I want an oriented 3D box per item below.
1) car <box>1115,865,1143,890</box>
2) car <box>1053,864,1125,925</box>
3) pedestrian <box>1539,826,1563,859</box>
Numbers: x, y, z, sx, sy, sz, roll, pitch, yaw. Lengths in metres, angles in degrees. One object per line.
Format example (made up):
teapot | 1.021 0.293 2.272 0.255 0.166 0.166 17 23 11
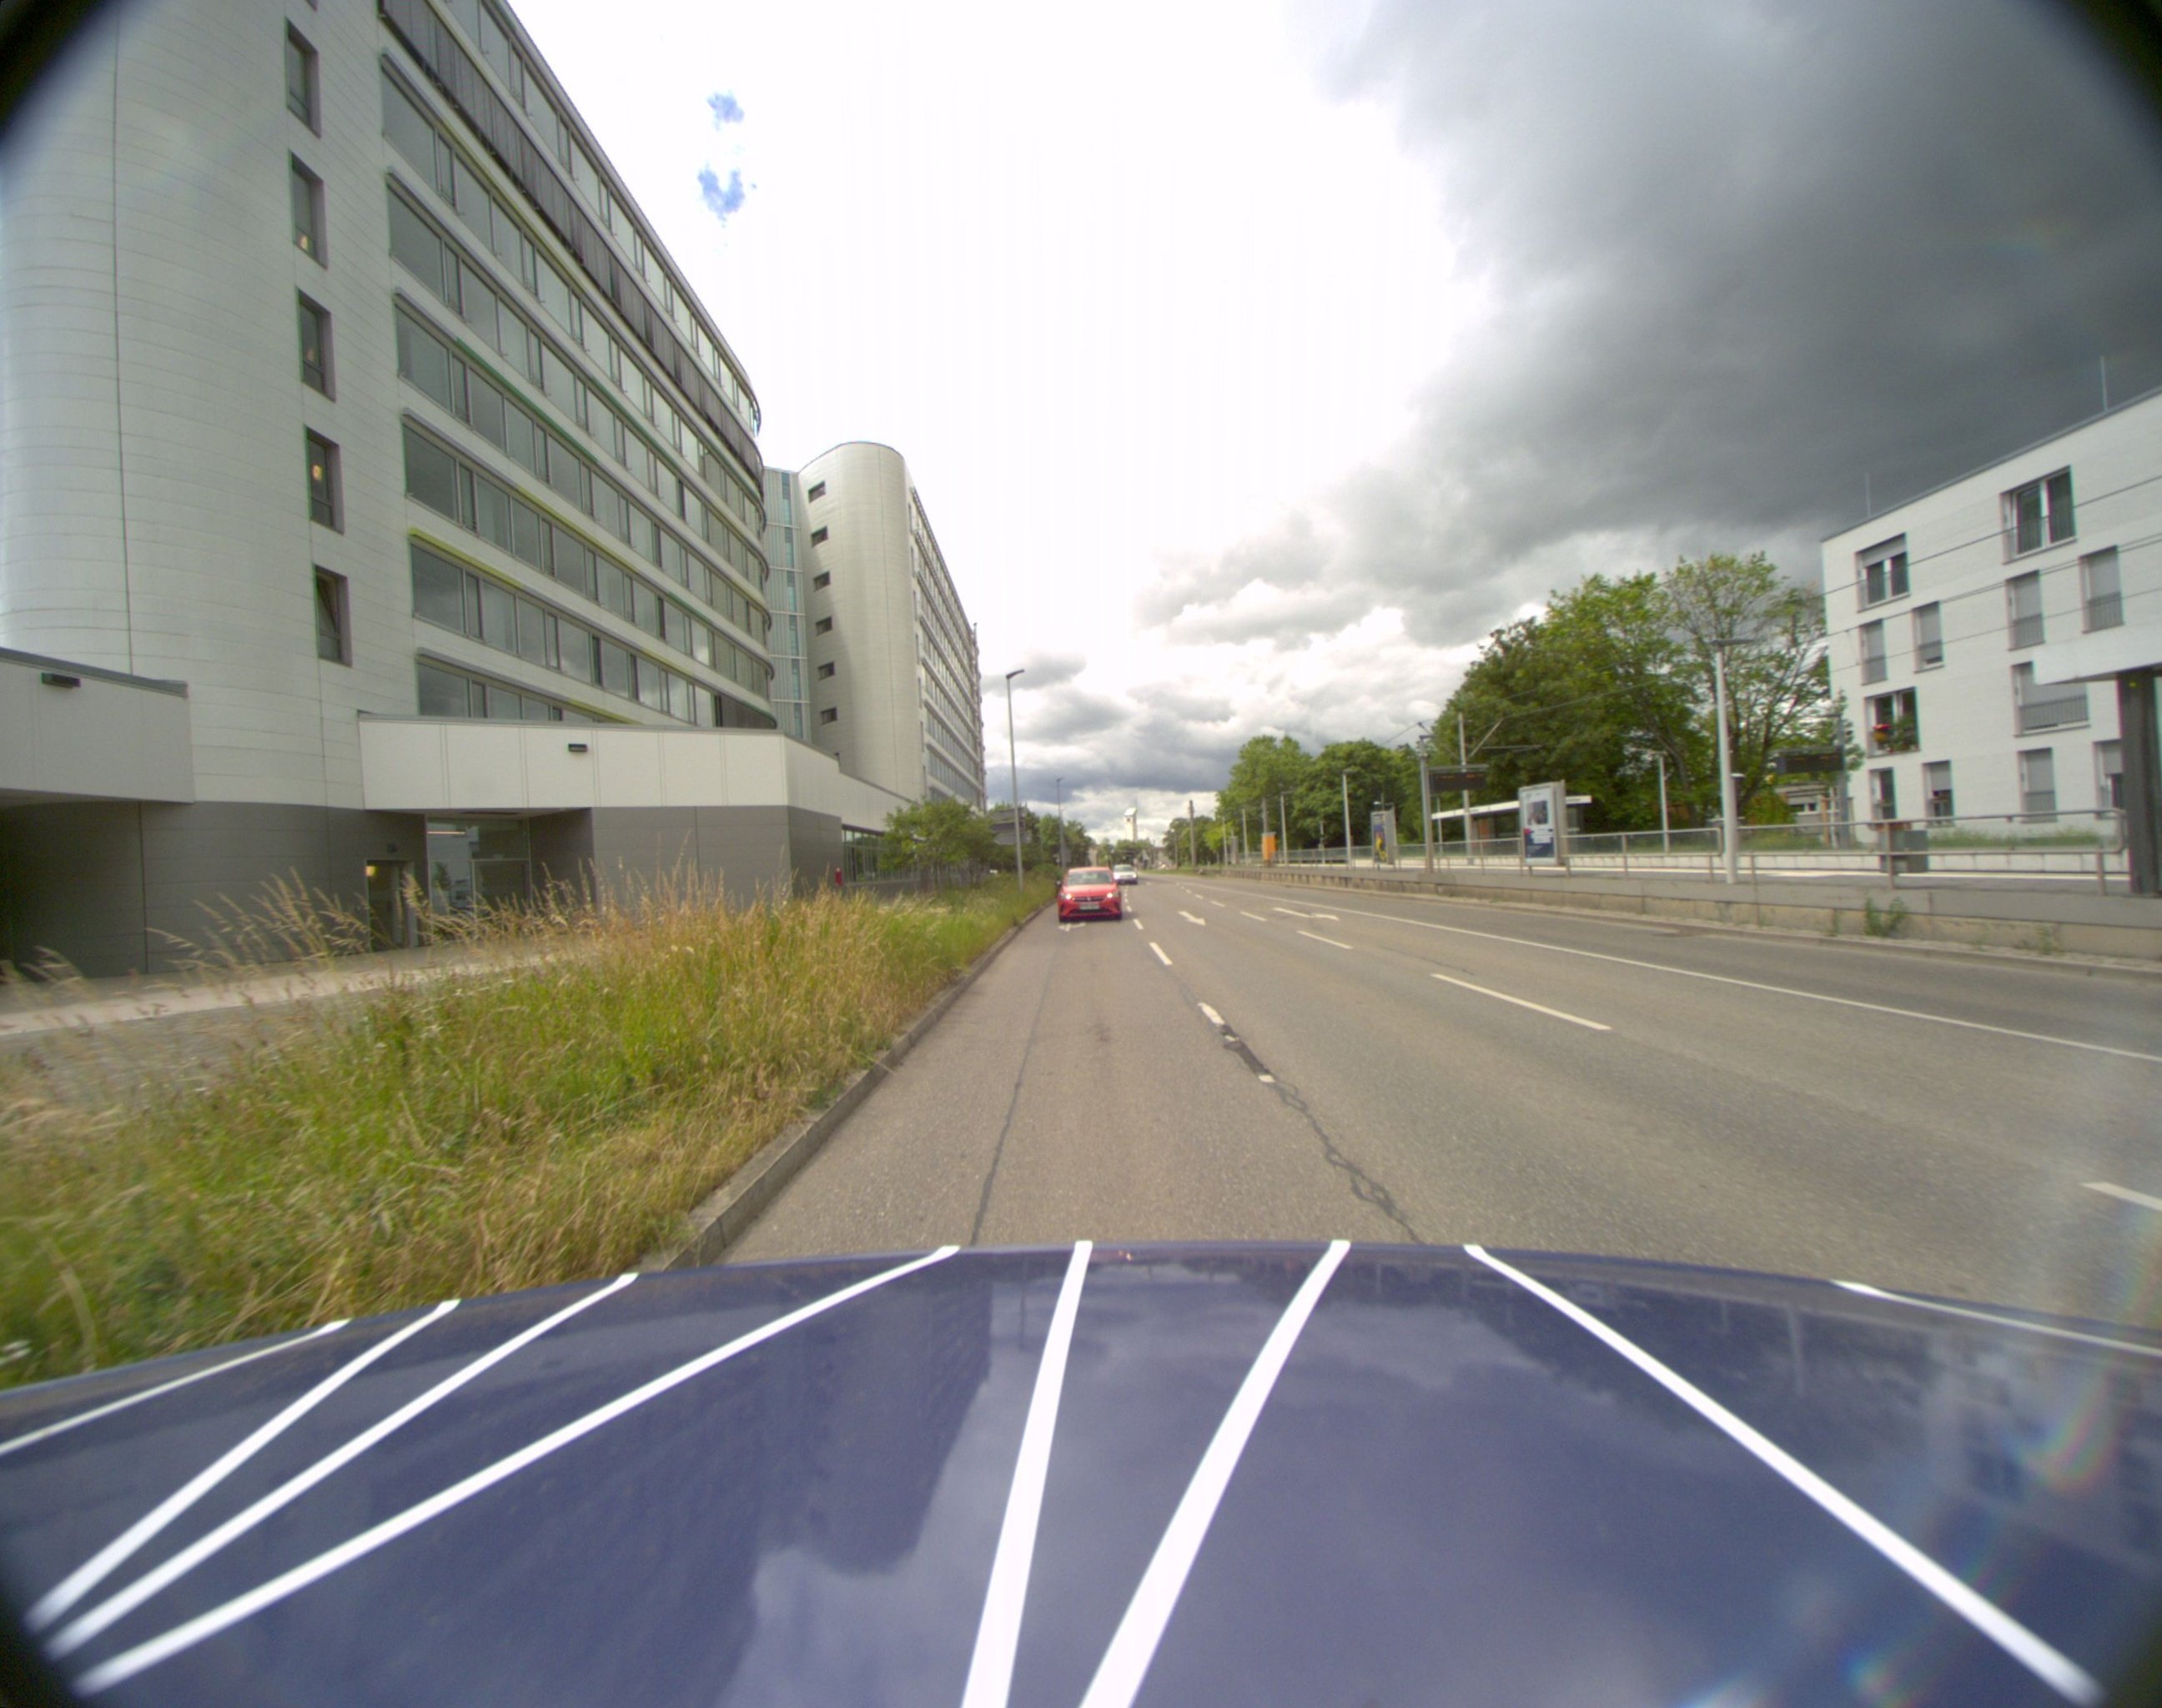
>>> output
car | 3.341 1.614 53.342 1.841 1.586 4.001 -3 0 3
car | 0.276 1.099 22.271 1.790 1.453 4.853 -3 -1 1
pedestrian | 22.007 -0.534 35.594 0.548 1.522 0.742 -3 0 -43
